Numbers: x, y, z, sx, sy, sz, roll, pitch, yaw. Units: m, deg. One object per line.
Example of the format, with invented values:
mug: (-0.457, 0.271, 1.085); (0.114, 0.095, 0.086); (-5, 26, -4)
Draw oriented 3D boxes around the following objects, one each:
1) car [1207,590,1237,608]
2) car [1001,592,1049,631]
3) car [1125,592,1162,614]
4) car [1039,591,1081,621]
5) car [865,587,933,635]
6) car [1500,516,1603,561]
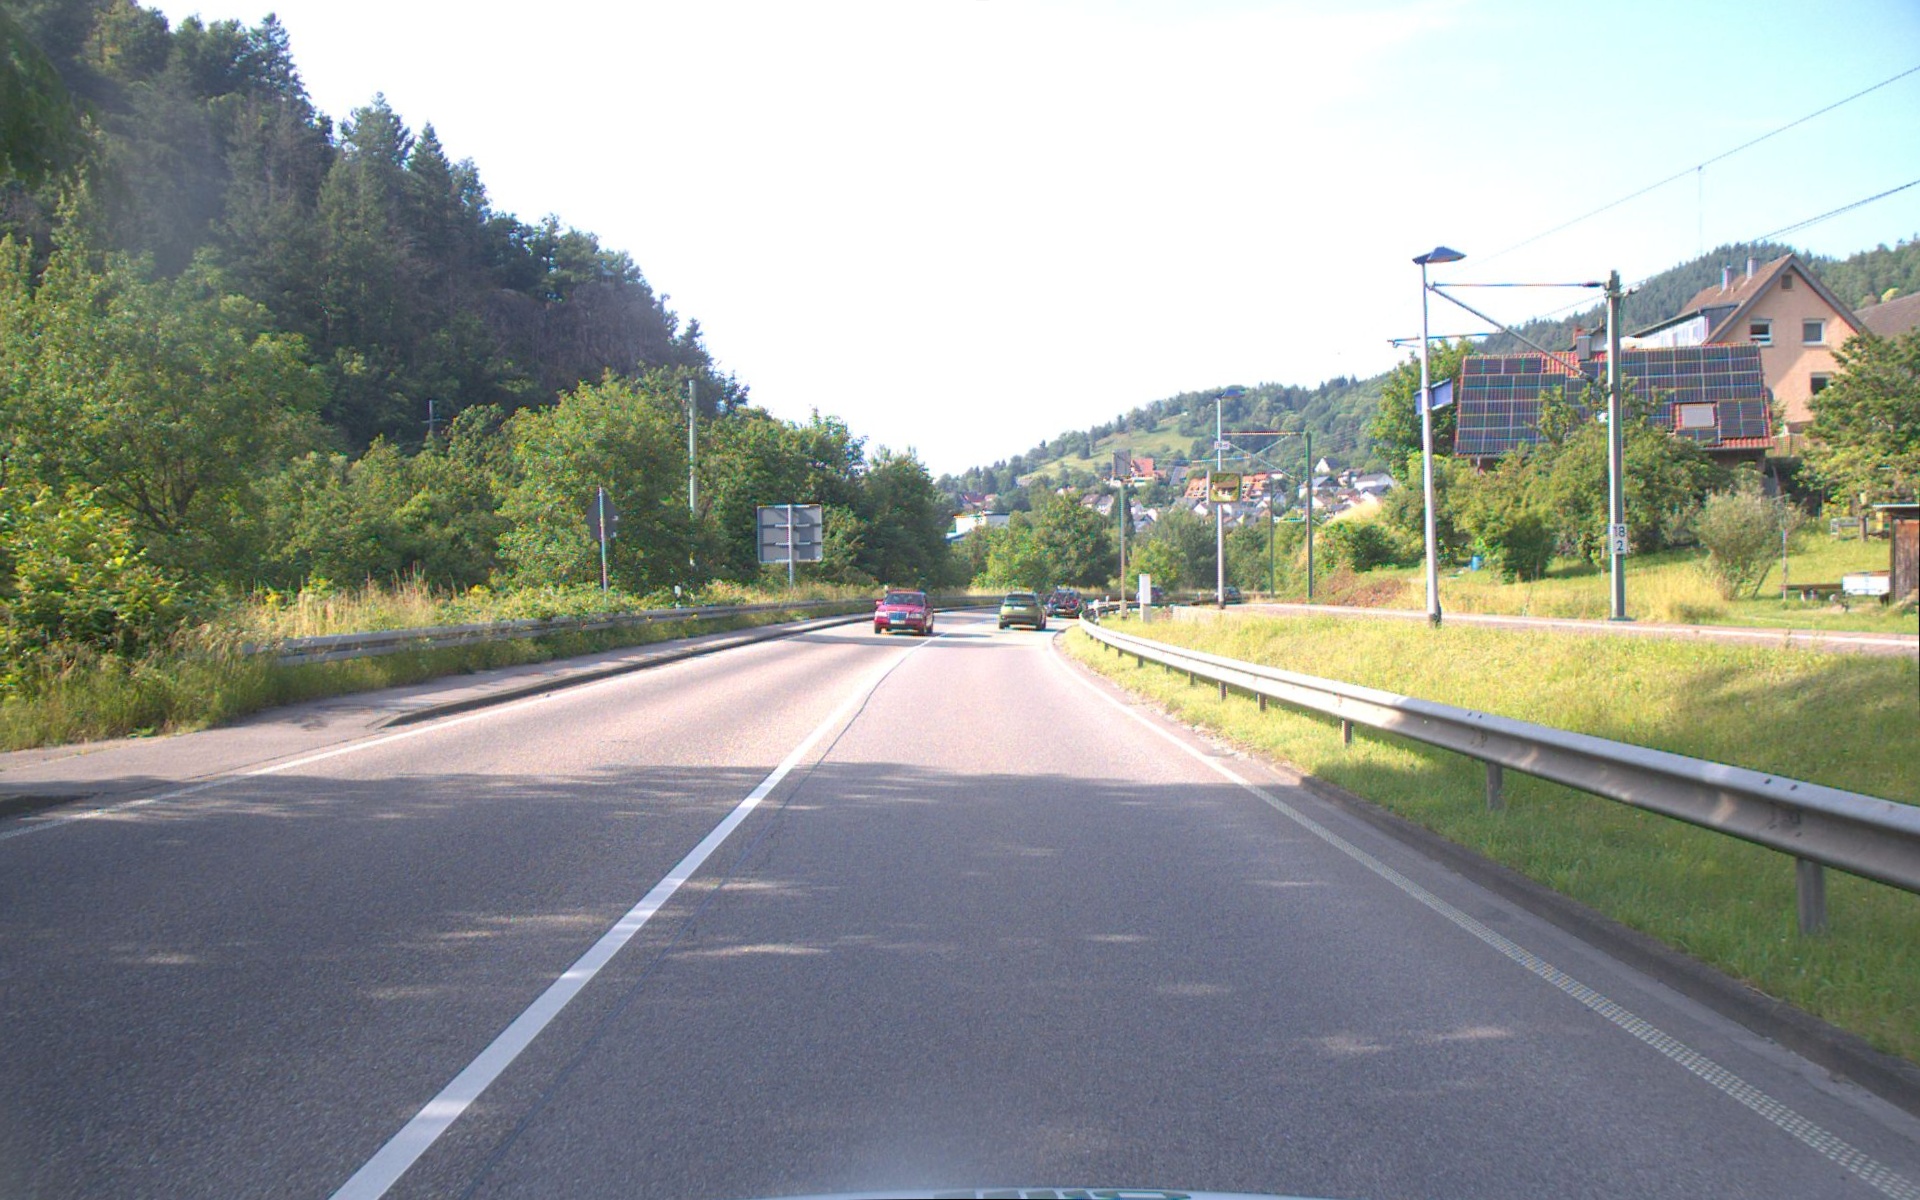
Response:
car: (22.298, -0.118, 140.679); (1.771, 1.433, 3.773); (-1, 0, 22)
car: (2.632, 0.445, 66.506); (1.692, 1.482, 3.413); (-1, 0, 6)
car: (13.044, 0.199, 117.488); (1.769, 1.478, 3.648); (-1, 0, 19)
car: (5.350, 0.296, 88.133); (1.801, 1.485, 3.716); (-1, 0, 9)
car: (-2.037, 0.357, 56.543); (1.803, 1.495, 4.946); (2, 0, 3)
car: (24.970, -2.569, 69.938); (3.902, 1.713, 2.002); (-1, 0, 15)
